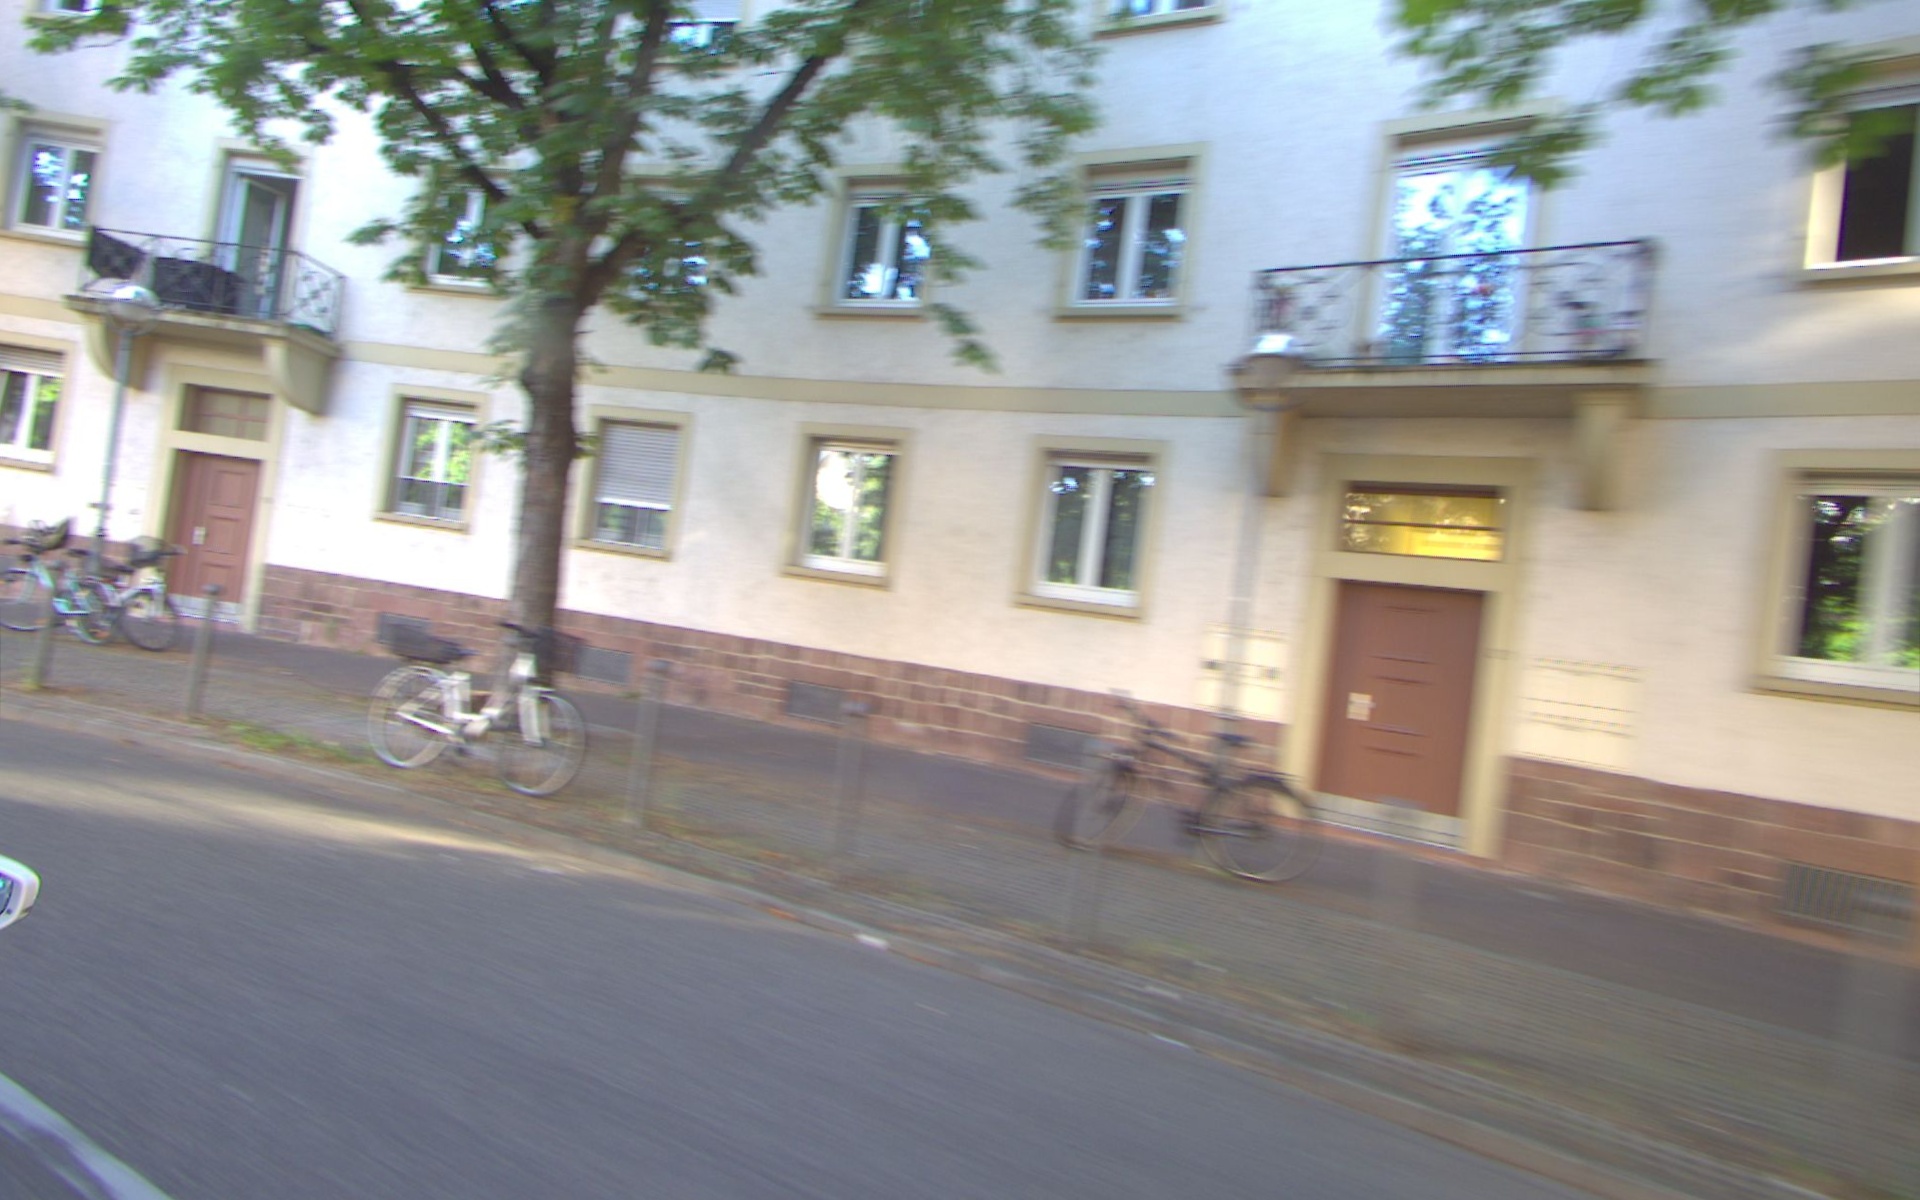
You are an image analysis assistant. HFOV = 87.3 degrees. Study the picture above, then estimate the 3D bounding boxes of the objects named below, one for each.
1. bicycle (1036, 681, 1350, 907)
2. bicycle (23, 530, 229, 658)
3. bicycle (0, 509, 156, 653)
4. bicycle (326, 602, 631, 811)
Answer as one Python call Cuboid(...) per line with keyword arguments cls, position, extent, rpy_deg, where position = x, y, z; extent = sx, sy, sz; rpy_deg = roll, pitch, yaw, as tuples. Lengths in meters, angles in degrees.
Cuboid(cls="bicycle", position=(1.535, 1.250, 6.810), extent=(1.823, 1.131, 0.804), rpy_deg=(8, -2, 11))
Cuboid(cls="bicycle", position=(-9.159, -0.065, 11.057), extent=(1.929, 1.120, 0.670), rpy_deg=(7, -2, 16))
Cuboid(cls="bicycle", position=(-9.539, -0.224, 10.464), extent=(1.929, 1.292, 0.720), rpy_deg=(8, 0, 15))
Cuboid(cls="bicycle", position=(-3.321, 0.694, 6.938), extent=(1.936, 1.109, 0.514), rpy_deg=(7, 0, 16))
